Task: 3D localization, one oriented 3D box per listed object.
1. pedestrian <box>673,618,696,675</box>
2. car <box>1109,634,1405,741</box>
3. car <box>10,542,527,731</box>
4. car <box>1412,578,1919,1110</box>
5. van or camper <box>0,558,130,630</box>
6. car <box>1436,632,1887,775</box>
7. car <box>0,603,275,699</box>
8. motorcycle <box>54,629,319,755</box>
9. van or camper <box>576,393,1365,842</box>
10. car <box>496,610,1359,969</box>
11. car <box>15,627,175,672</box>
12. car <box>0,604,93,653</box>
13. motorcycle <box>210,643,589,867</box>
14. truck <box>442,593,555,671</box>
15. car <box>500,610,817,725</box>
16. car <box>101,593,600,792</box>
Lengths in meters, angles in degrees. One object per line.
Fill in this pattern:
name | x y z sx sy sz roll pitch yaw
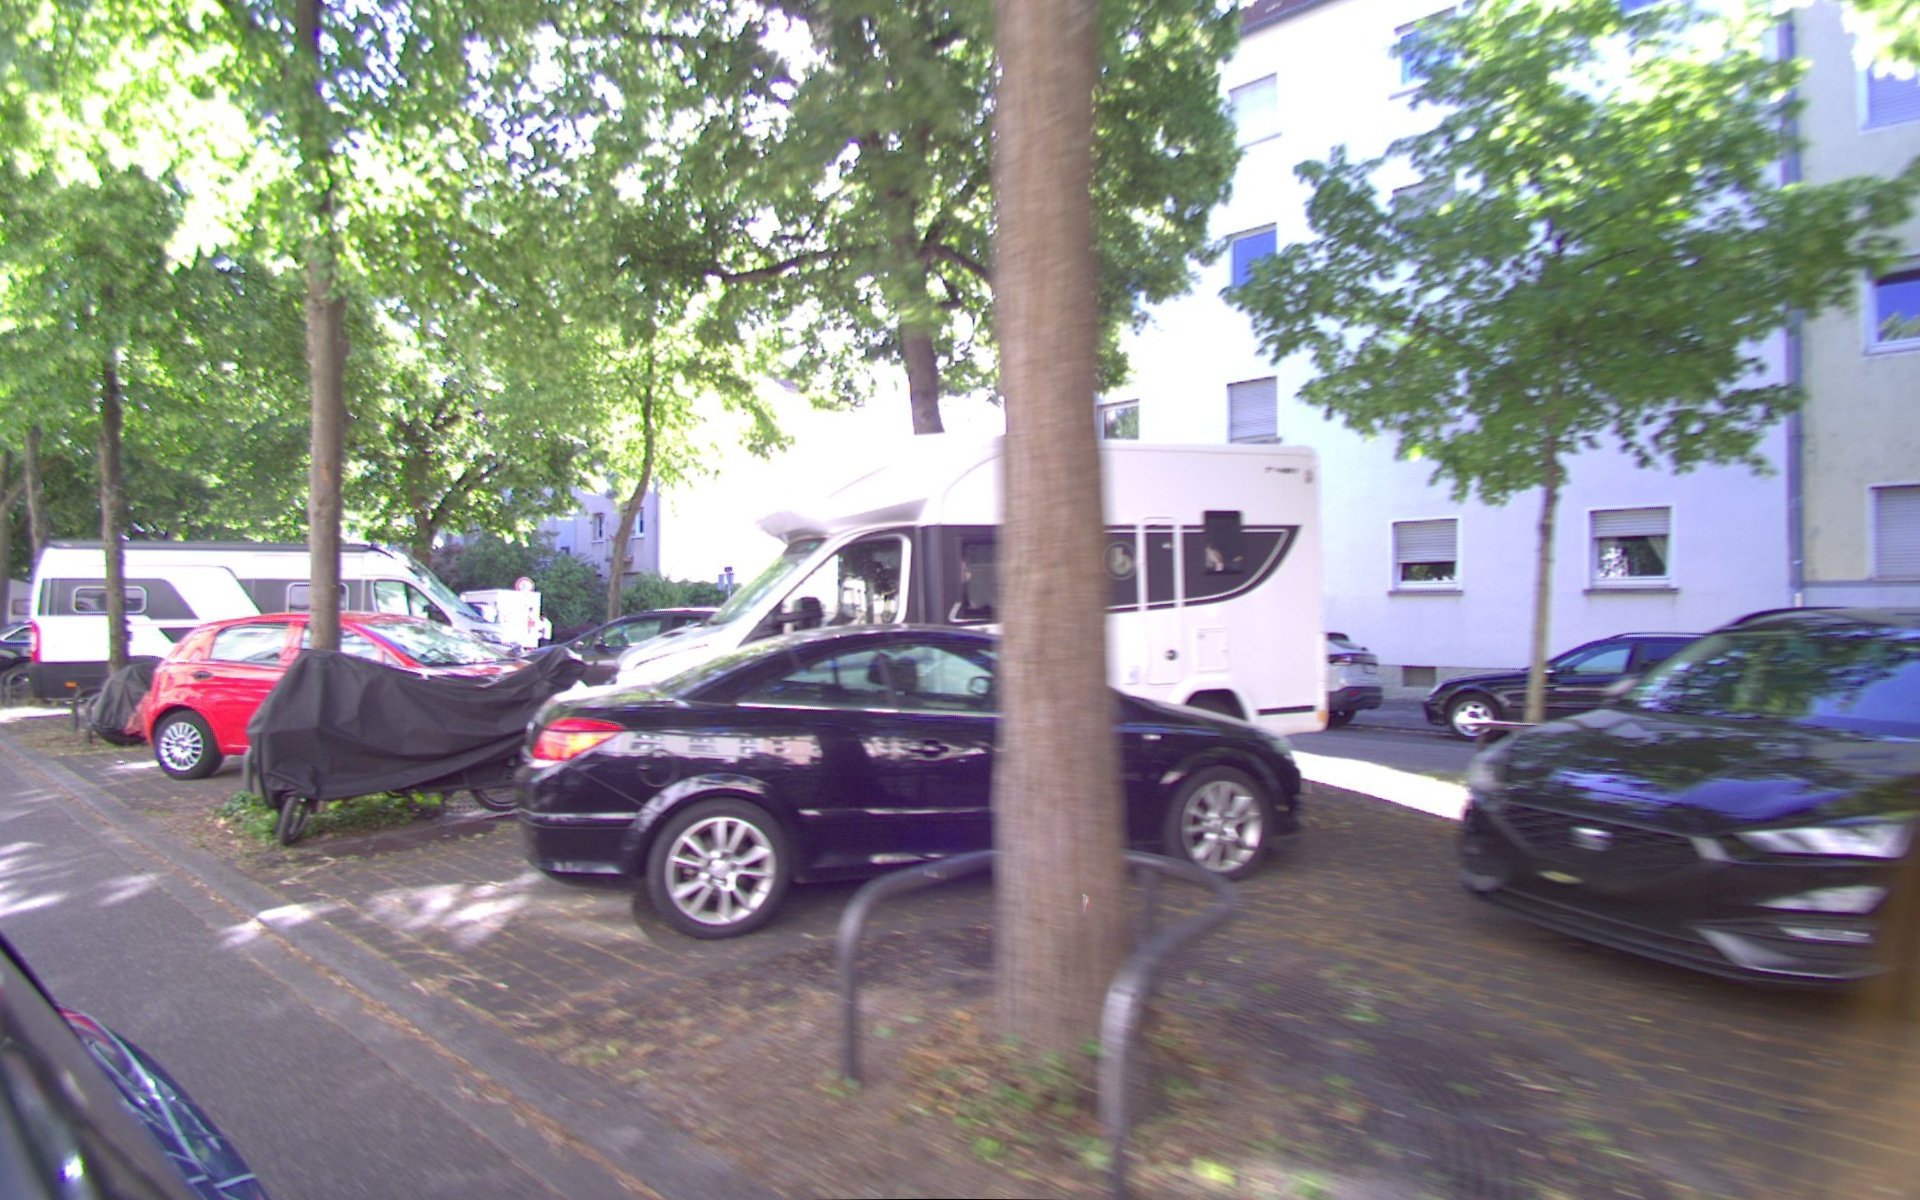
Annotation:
pedestrian | -8.968 1.496 32.974 0.573 1.837 0.672 1 -2 -28
car | 4.541 1.283 15.770 4.077 1.447 1.732 -2 -4 39
car | -10.254 0.504 15.763 6.220 2.578 2.345 0 -1 -17
car | 4.135 0.696 4.410 3.930 1.497 1.836 0 -1 -26
van or camper | -40.542 -0.239 44.349 5.929 3.025 2.407 1 -3 -20
car | 8.360 1.133 12.412 4.300 1.409 1.628 -2 0 39
car | -16.022 0.952 19.745 4.030 1.537 1.707 -3 -1 -19
motorcycle | -9.119 1.019 12.055 0.966 1.345 2.301 -1 -2 32
van or camper | 0.068 0.096 8.613 6.197 2.846 2.415 -1 -1 -20
car | -0.148 0.788 5.473 4.086 1.436 1.720 0 -1 -17
car | -30.600 1.745 35.936 3.932 1.530 1.675 1 -2 -15
car | -49.733 1.490 53.053 6.094 2.530 2.145 1 -3 -22
motorcycle | -3.734 0.936 6.866 2.120 1.239 0.883 1 -2 -40
truck | -15.373 1.062 33.634 4.264 2.428 1.900 -2 -3 43
car | -4.176 0.933 14.475 4.069 1.497 1.838 1 -2 -12
car | -5.585 0.792 9.489 3.837 1.630 1.659 0 -2 10
